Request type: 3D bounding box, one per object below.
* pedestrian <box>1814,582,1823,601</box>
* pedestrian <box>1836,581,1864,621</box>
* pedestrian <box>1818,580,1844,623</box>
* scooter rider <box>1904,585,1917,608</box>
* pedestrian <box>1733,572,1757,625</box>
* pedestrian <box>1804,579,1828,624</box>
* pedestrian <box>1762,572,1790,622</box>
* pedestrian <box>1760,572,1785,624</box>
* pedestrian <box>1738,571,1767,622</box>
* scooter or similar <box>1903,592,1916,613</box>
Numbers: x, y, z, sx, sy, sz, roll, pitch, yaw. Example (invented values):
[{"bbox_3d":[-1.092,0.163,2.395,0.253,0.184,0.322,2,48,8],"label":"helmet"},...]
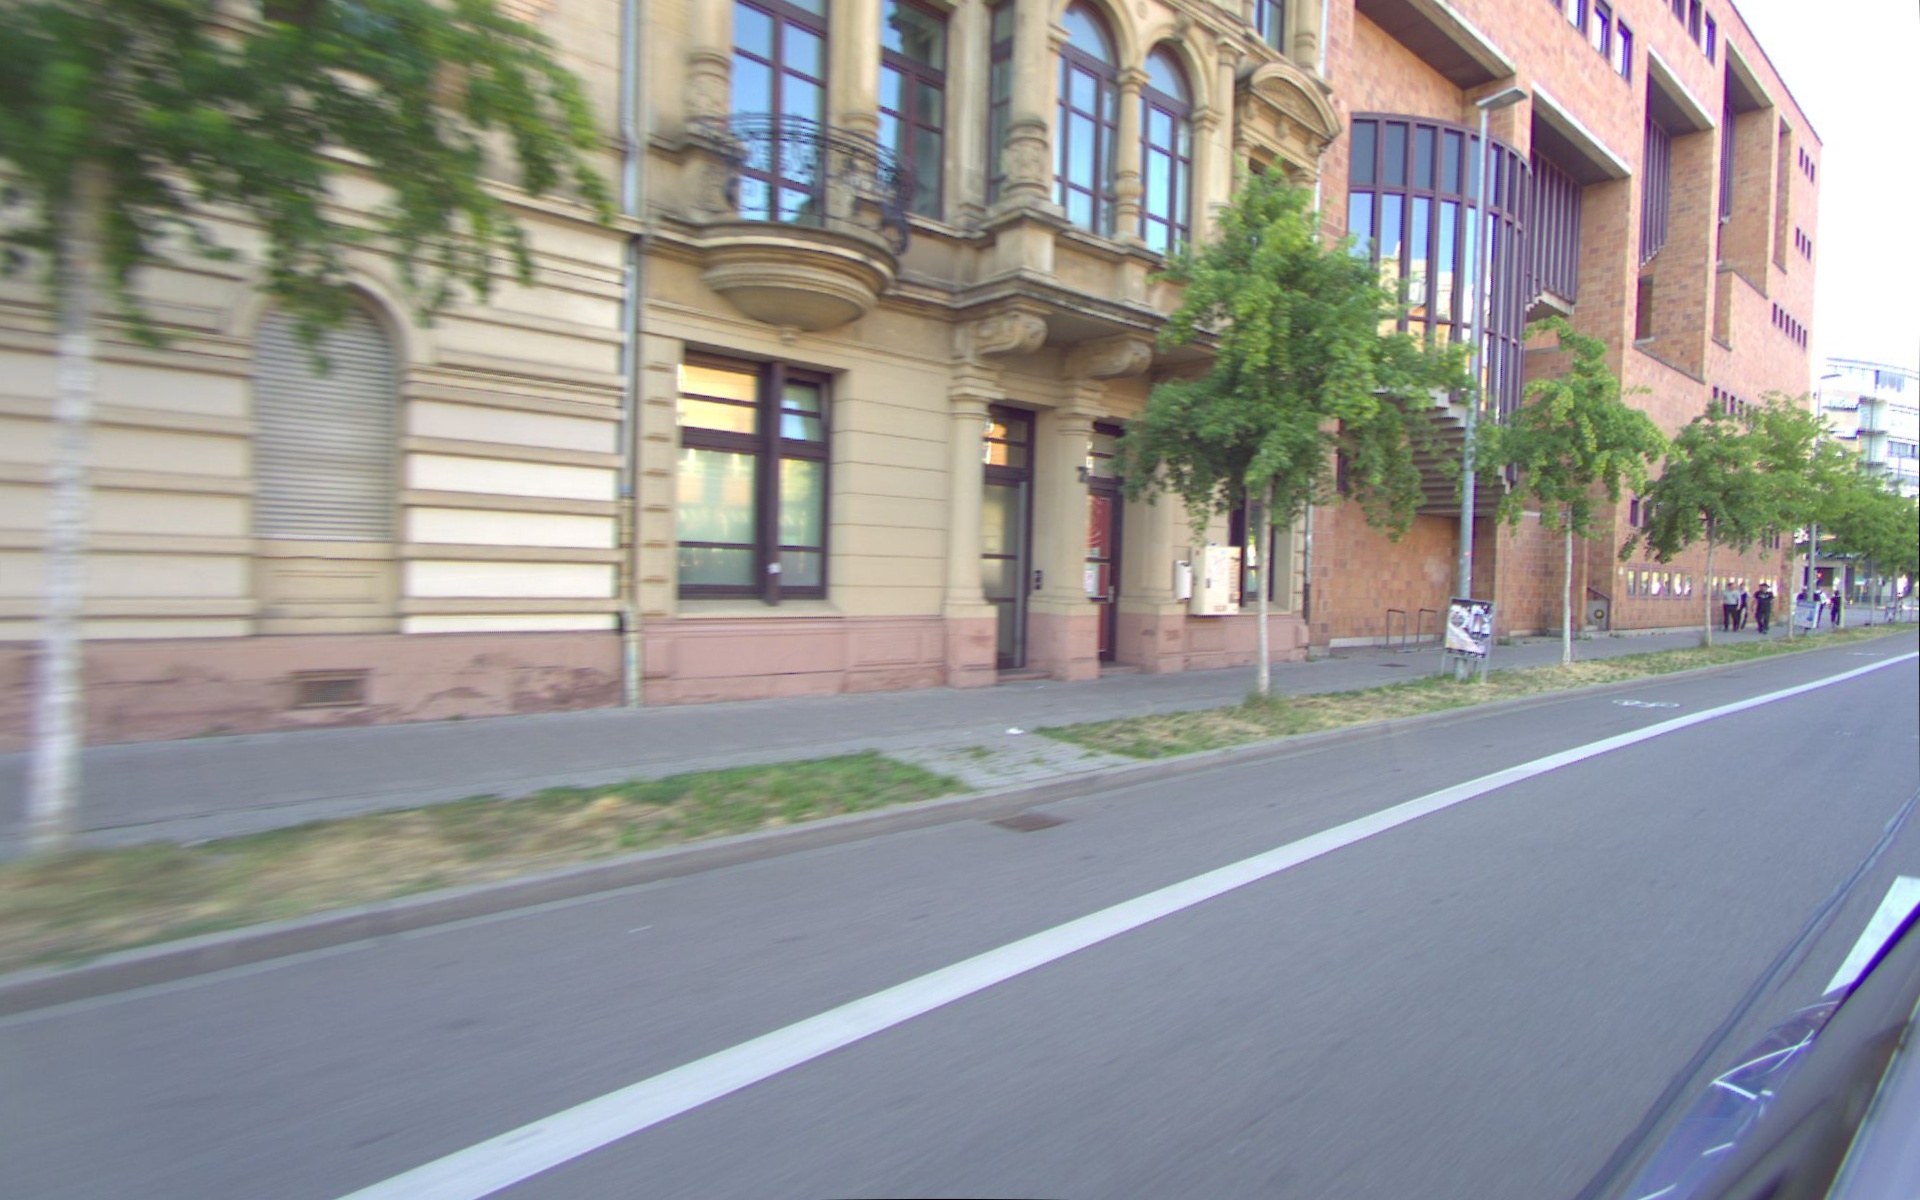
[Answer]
[{"bbox_3d":[85.270,-0.866,100.527,0.543,1.846,0.369,2,2,36],"label":"pedestrian"},{"bbox_3d":[37.008,0.034,42.082,0.509,1.625,0.703,2,2,8],"label":"pedestrian"},{"bbox_3d":[36.215,0.042,42.087,0.565,1.734,0.637,2,2,18],"label":"pedestrian"},{"bbox_3d":[61.360,-0.245,65.345,0.505,1.478,0.712,3,2,40],"label":"scooter rider"},{"bbox_3d":[27.110,-0.063,34.956,0.533,1.778,0.418,2,2,28],"label":"pedestrian"},{"bbox_3d":[34.453,0.071,40.736,0.528,1.778,0.421,2,1,3],"label":"pedestrian"},{"bbox_3d":[30.212,-0.120,37.460,0.732,1.778,0.685,3,2,41],"label":"pedestrian"},{"bbox_3d":[27.849,-0.079,34.691,0.534,1.778,0.459,2,2,32],"label":"pedestrian"},{"bbox_3d":[28.125,-0.127,35.909,0.681,1.778,0.539,1,2,-31],"label":"pedestrian"},{"bbox_3d":[61.401,0.142,65.446,0.527,1.334,1.116,3,2,41],"label":"scooter or similar"}]
